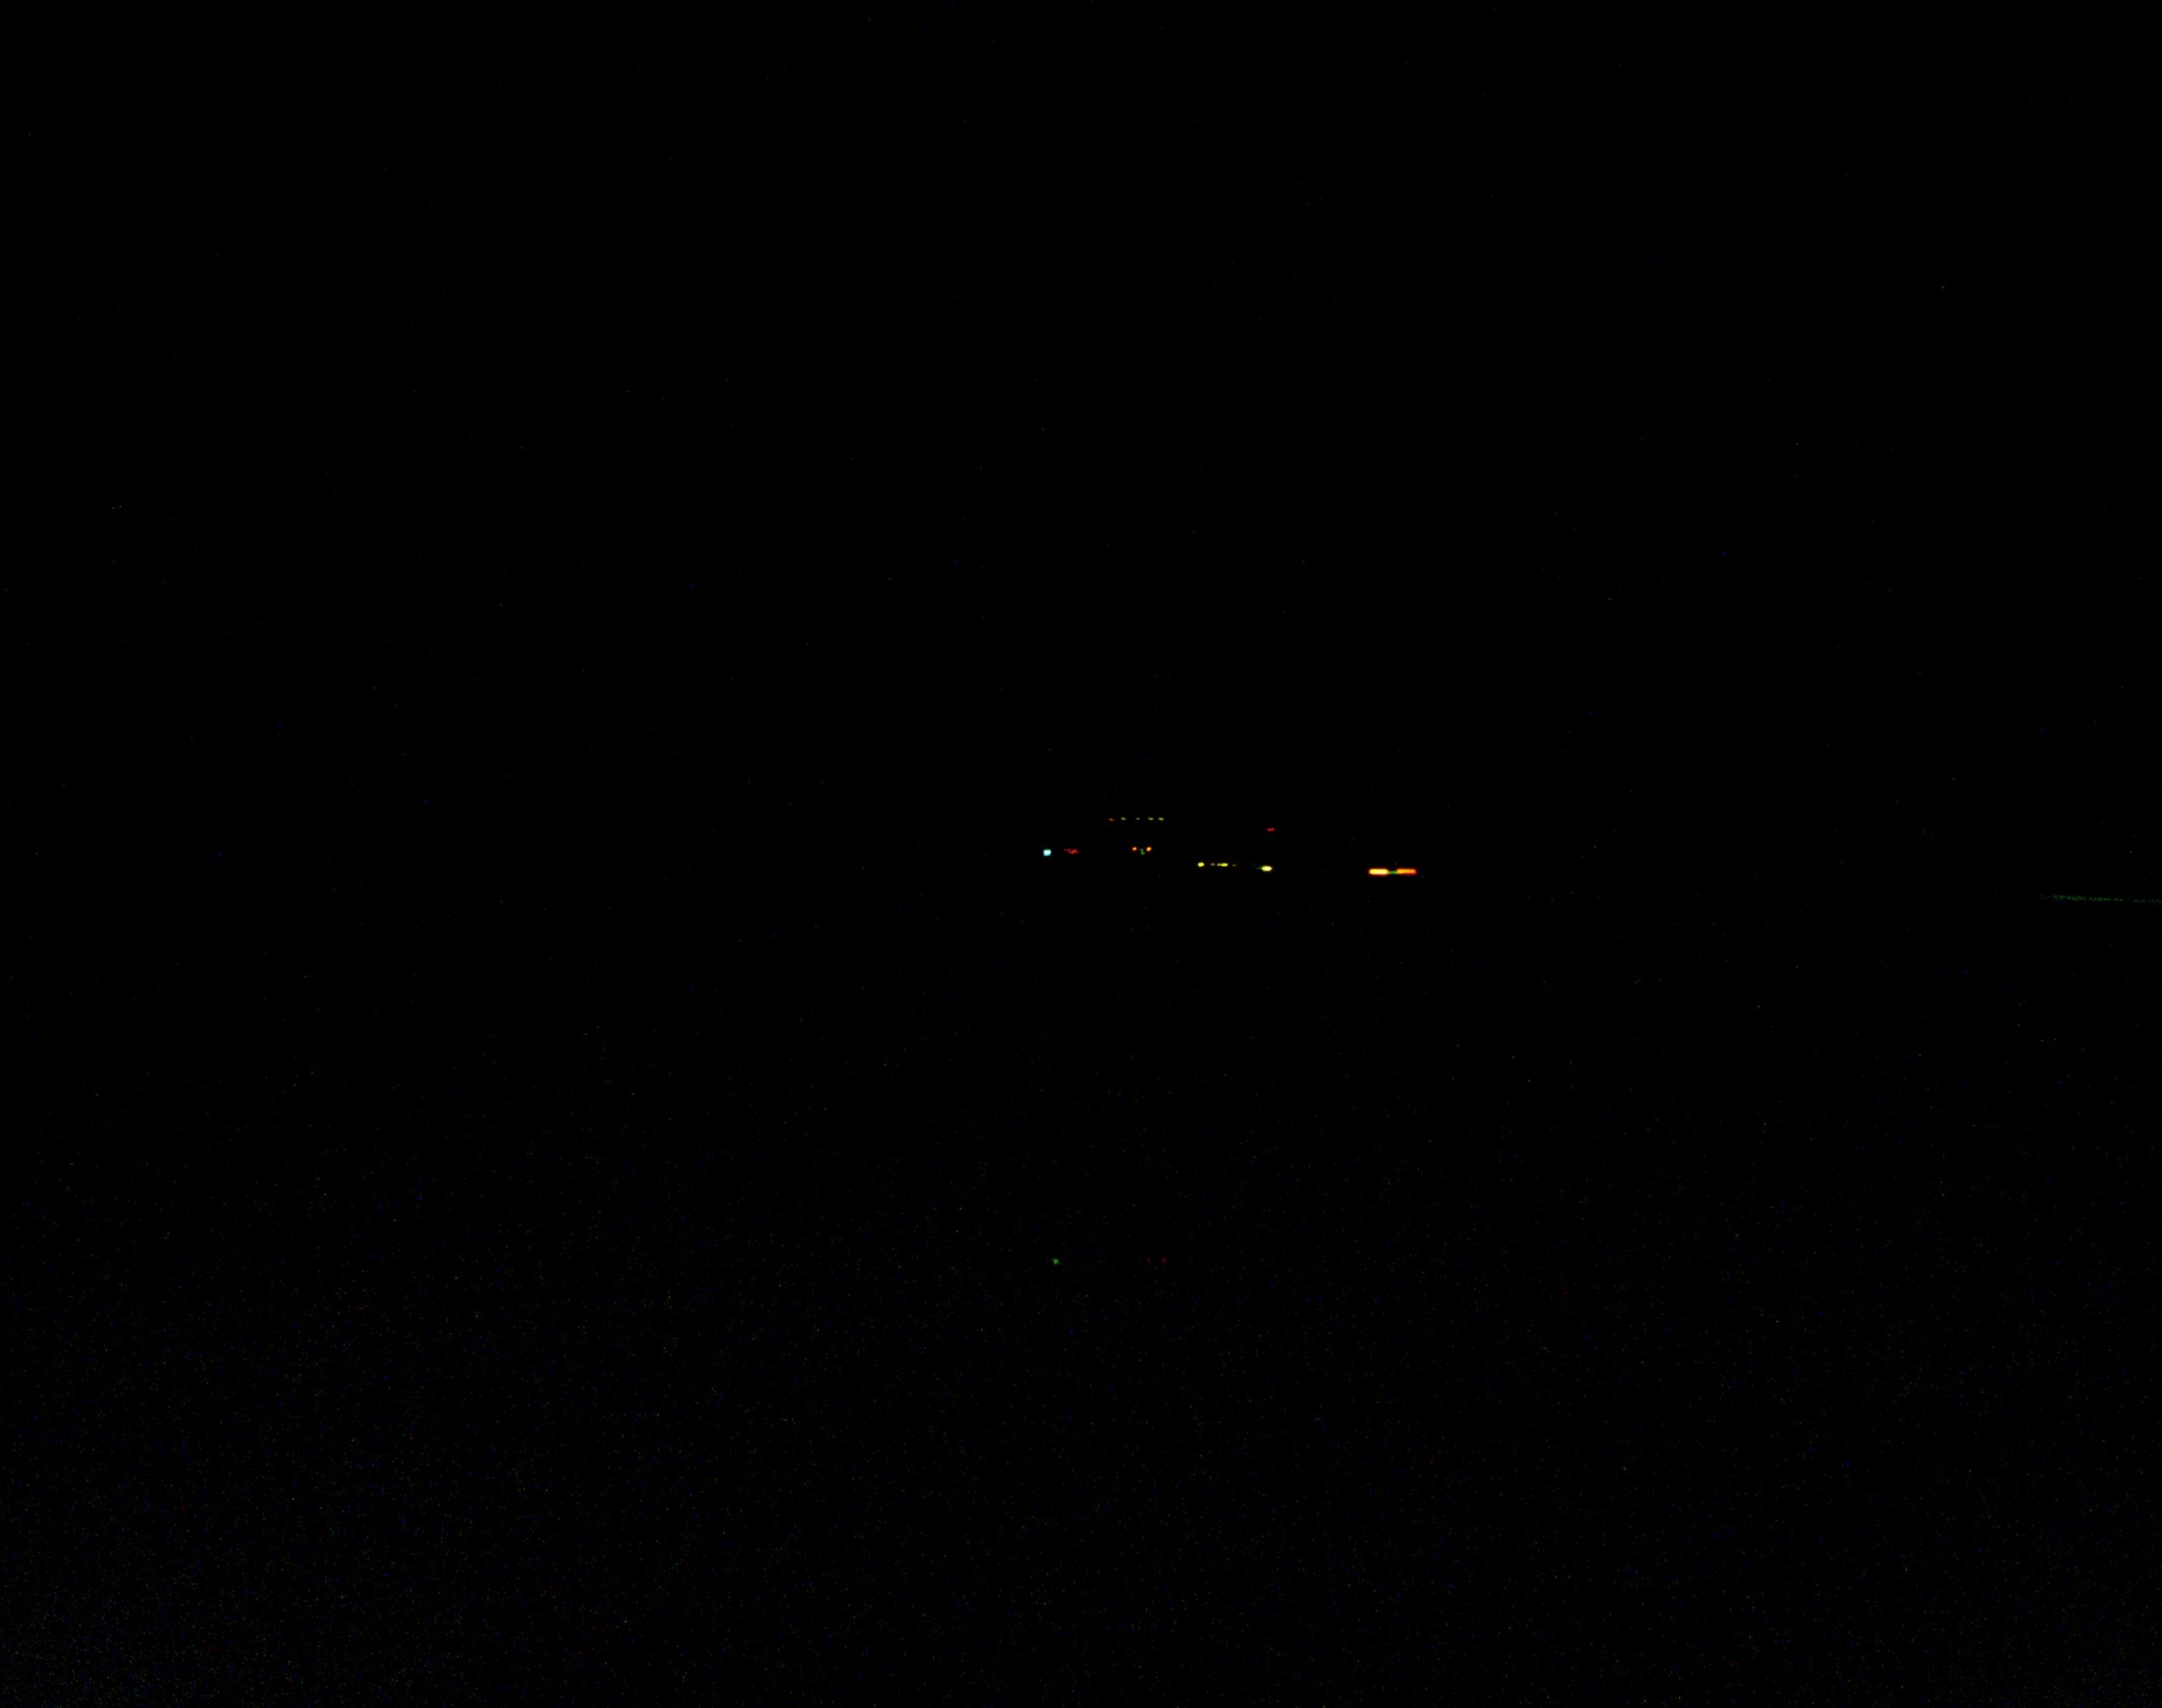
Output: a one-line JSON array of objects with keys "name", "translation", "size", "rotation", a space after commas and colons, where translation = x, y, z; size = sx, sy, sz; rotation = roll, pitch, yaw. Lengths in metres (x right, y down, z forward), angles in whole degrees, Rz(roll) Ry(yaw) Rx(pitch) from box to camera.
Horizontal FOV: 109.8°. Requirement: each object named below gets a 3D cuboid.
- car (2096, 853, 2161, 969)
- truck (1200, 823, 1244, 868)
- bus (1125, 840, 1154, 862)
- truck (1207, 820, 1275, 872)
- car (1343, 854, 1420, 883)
[{"name": "car", "translation": [15.554, 0.763, 8.766], "size": [1.998, 1.548, 4.295], "rotation": [-1, 0, 1]}, {"name": "truck", "translation": [13.756, -0.829, 74.589], "size": [2.780, 4.120, 6.672], "rotation": [-1, 1, -2]}, {"name": "bus", "translation": [8.701, -0.466, 114.032], "size": [2.793, 3.092, 12.513], "rotation": [-1, 1, -3]}, {"name": "truck", "translation": [14.080, -0.705, 68.305], "size": [2.753, 4.103, 13.905], "rotation": [-1, 1, -2]}, {"name": "car", "translation": [14.207, 0.638, 36.176], "size": [1.998, 1.264, 4.295], "rotation": [-1, 0, 1]}]
